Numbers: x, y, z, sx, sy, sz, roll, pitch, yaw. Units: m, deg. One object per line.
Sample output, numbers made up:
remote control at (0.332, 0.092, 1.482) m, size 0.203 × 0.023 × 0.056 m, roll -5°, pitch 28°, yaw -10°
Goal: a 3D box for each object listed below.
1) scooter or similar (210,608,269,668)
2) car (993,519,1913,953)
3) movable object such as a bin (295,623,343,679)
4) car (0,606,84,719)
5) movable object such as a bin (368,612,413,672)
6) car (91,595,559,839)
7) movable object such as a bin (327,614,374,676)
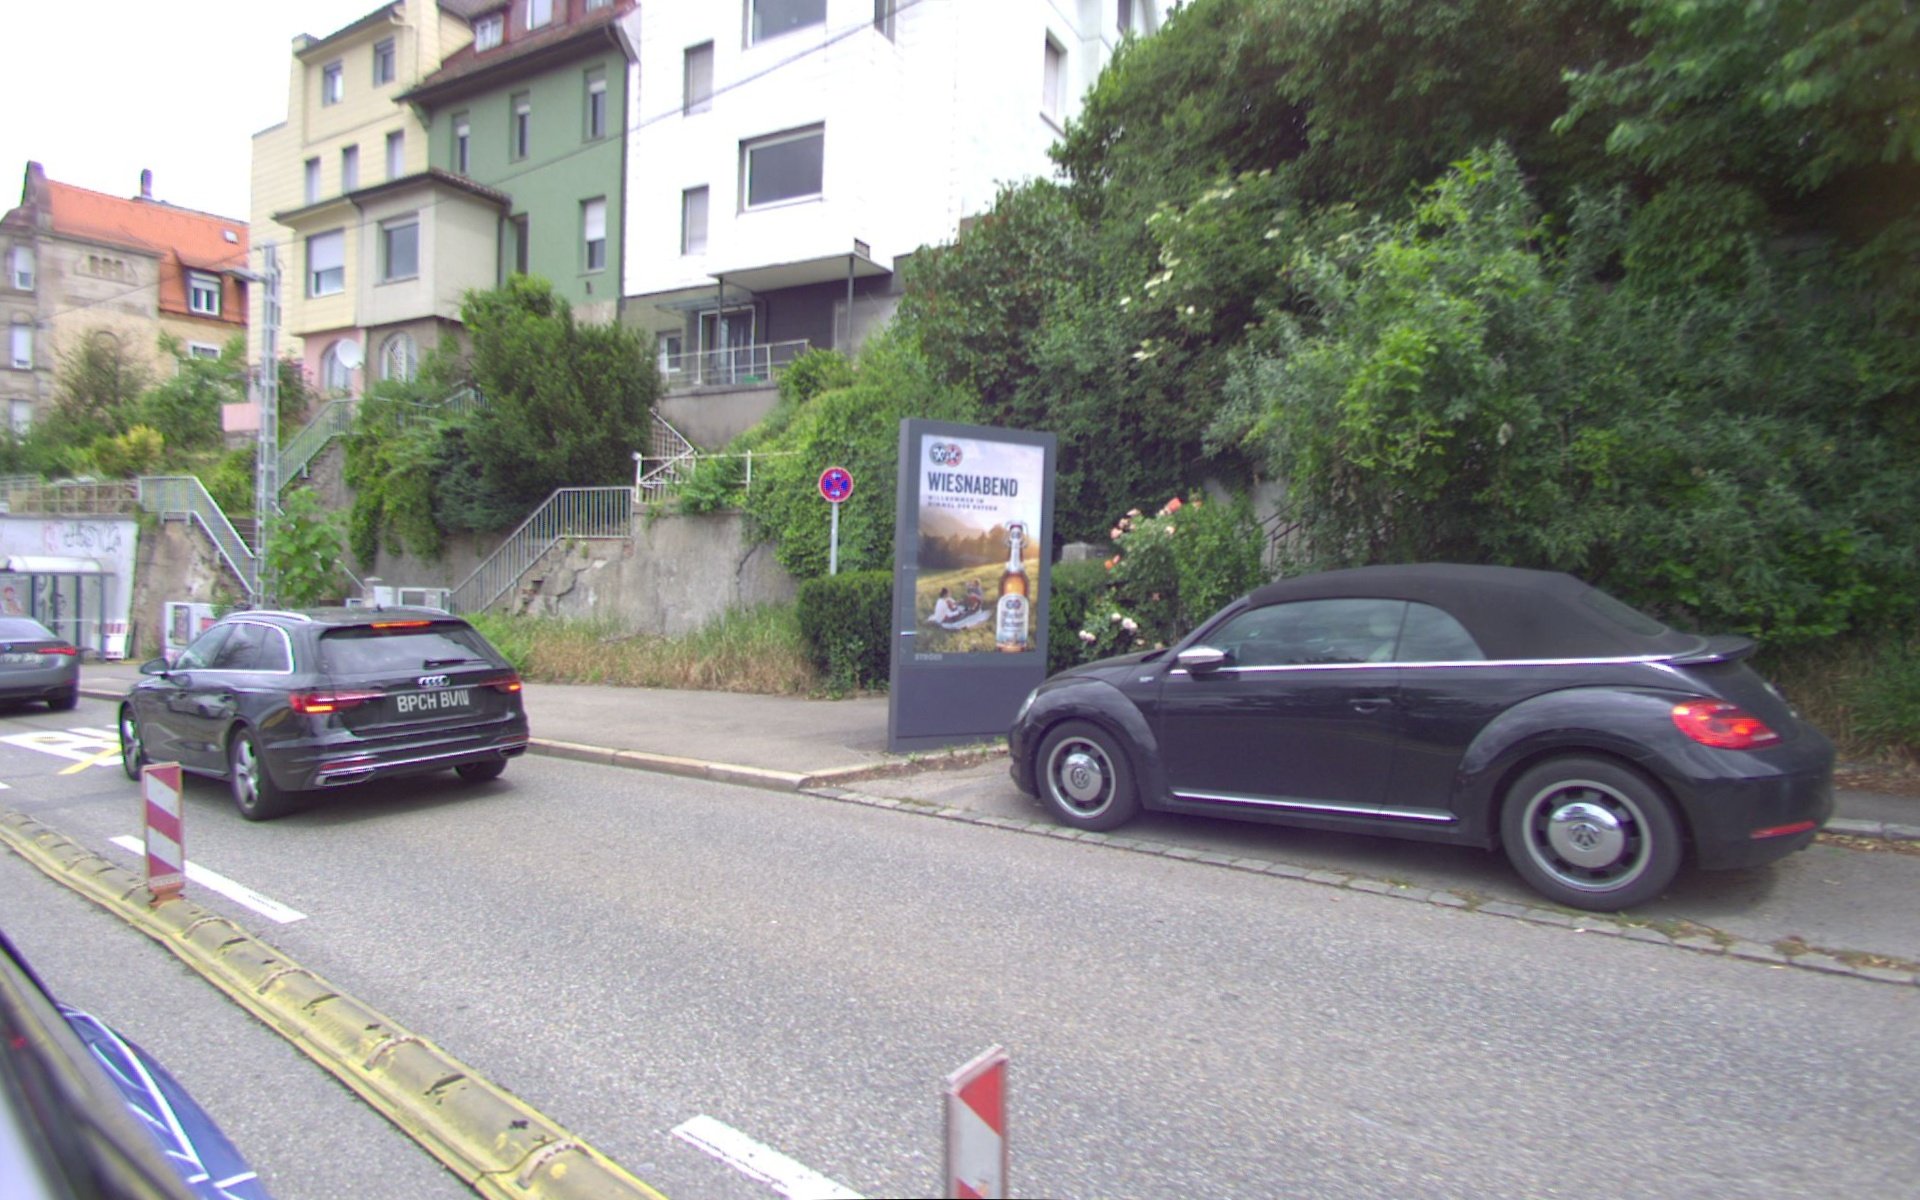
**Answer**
scooter or similar at (-15.336, 0.803, 21.542) m, size 1.430 × 1.214 × 0.456 m, roll -1°, pitch 1°, yaw 31°
car at (2.320, 0.463, 5.492) m, size 3.996 × 1.521 × 1.777 m, roll -1°, pitch 2°, yaw 39°
movable object such as a bin at (-11.259, 0.886, 17.775) m, size 0.622 × 0.941 × 0.464 m, roll -1°, pitch 1°, yaw 33°
car at (-14.727, 0.885, 14.884) m, size 4.319 × 1.493 × 1.780 m, roll -1°, pitch 2°, yaw 35°
movable object such as a bin at (-10.571, 0.772, 18.793) m, size 0.622 × 1.061 × 0.464 m, roll -1°, pitch 1°, yaw 33°
car at (-5.284, 0.748, 8.204) m, size 4.355 × 1.457 × 1.779 m, roll -1°, pitch 0°, yaw 37°
movable object such as a bin at (-10.956, 0.802, 18.181) m, size 0.622 × 1.061 × 0.464 m, roll -1°, pitch 1°, yaw 33°
